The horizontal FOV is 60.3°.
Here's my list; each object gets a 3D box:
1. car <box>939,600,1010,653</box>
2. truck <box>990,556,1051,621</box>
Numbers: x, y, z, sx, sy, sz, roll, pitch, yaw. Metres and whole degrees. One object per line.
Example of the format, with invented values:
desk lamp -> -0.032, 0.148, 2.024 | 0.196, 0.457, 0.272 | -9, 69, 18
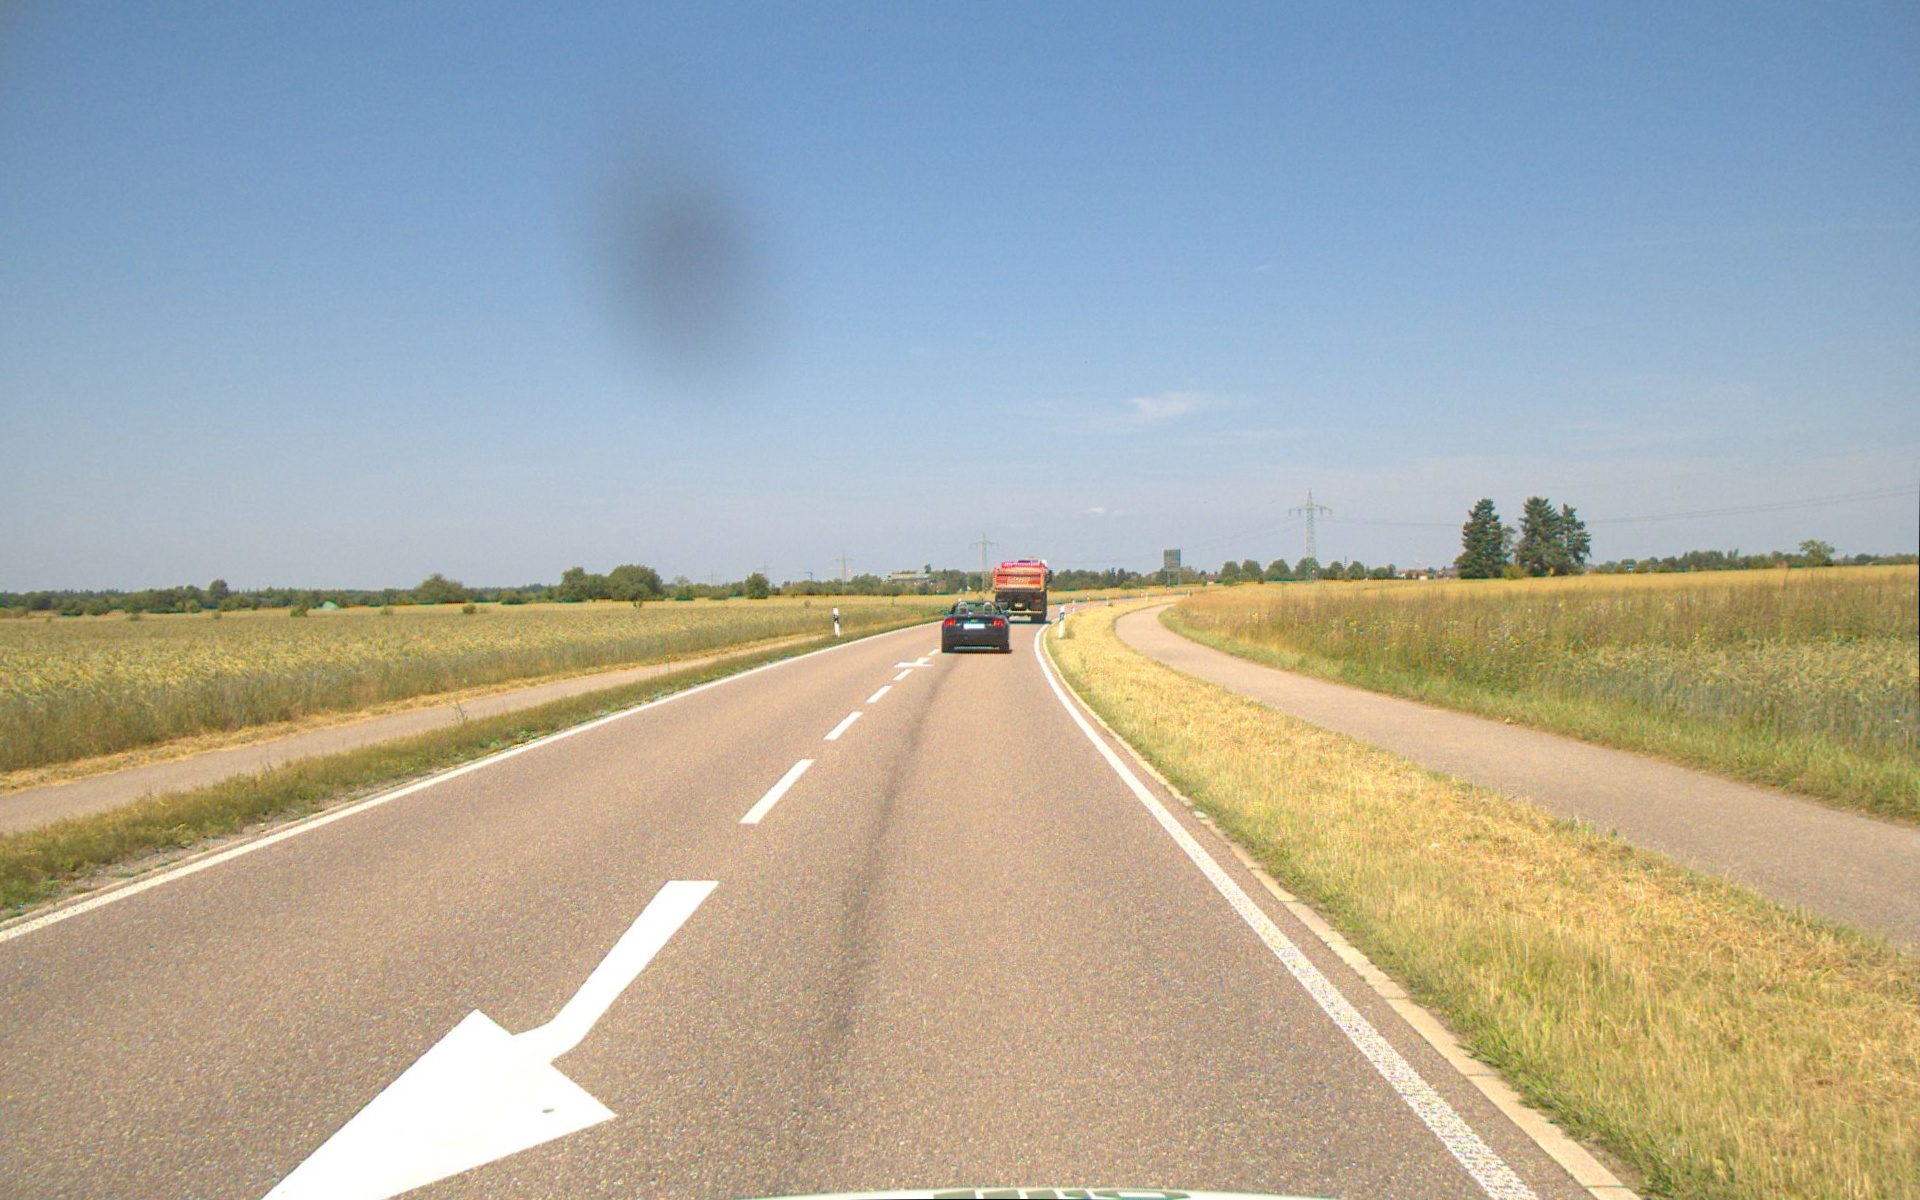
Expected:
car -> 0.422, 0.652, 43.075 | 1.707, 1.302, 4.001 | 0, 0, 2
truck -> 3.100, -0.530, 83.143 | 2.876, 3.143, 7.199 | 0, 0, 4
